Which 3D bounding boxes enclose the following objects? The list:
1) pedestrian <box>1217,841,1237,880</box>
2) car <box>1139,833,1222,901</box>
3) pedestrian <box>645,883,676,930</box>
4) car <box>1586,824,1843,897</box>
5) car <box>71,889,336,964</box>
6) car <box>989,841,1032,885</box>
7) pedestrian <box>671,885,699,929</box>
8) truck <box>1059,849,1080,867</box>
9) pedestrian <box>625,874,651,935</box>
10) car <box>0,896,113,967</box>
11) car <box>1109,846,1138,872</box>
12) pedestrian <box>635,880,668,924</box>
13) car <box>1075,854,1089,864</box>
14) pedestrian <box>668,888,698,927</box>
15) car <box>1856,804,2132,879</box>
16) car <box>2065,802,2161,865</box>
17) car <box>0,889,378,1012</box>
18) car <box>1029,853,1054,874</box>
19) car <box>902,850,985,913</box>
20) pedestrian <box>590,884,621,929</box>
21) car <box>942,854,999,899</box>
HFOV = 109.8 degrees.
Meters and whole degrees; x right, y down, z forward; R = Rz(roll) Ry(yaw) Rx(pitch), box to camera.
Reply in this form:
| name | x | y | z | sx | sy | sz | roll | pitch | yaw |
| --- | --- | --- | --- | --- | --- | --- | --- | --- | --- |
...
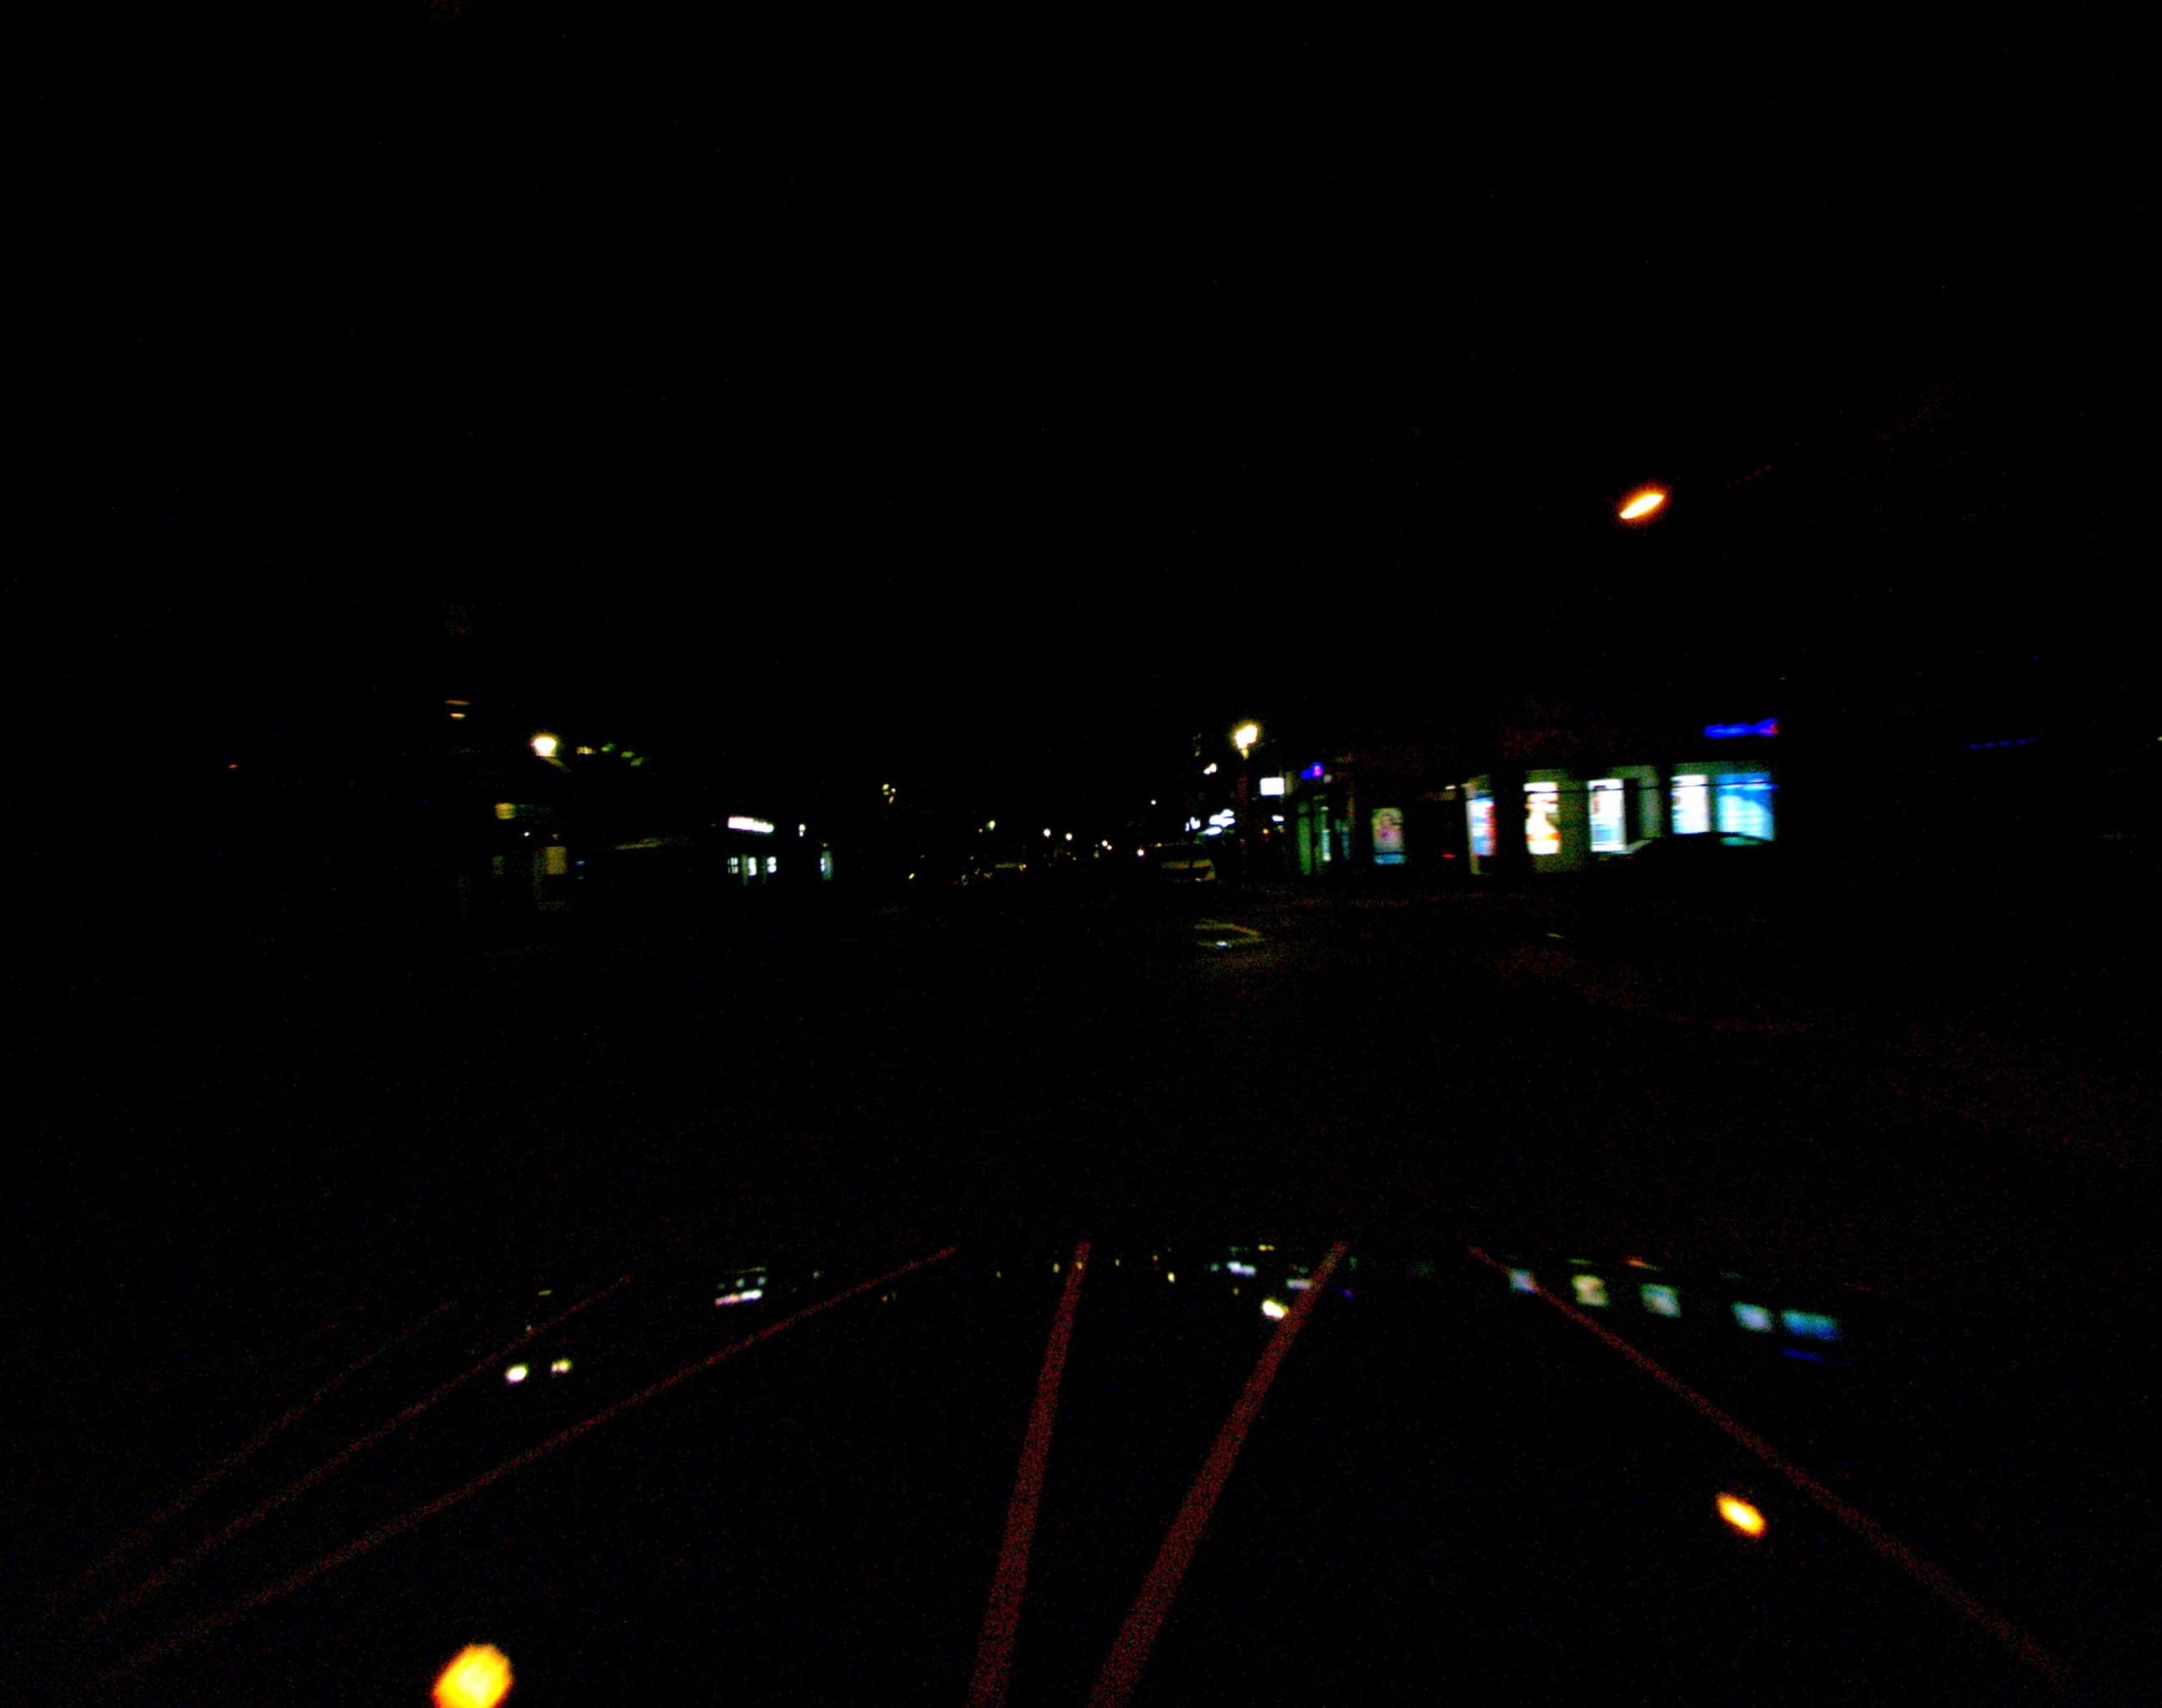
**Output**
| name | x | y | z | sx | sy | sz | roll | pitch | yaw |
| --- | --- | --- | --- | --- | --- | --- | --- | --- | --- |
| pedestrian | 6.885 | 0.287 | 35.865 | 0.719 | 1.795 | 0.716 | -2 | 0 | 2 |
| car | 3.459 | 0.423 | 27.441 | 1.858 | 2.075 | 5.088 | -5 | 0 | -4 |
| pedestrian | -11.831 | 1.466 | 21.368 | 0.528 | 1.256 | 0.503 | -2 | 1 | 31 |
| car | 14.418 | 0.140 | 17.477 | 4.339 | 1.389 | 1.803 | -3 | 0 | 0 |
| car | -20.535 | 1.669 | 17.913 | 4.153 | 1.540 | 1.804 | -1 | -1 | 0 |
| car | -3.950 | 0.472 | 43.556 | 2.140 | 2.313 | 5.150 | -2 | 0 | -3 |
| pedestrian | -10.908 | 1.453 | 20.927 | 0.389 | 1.161 | 0.519 | -2 | 1 | 37 |
| truck | -1.592 | 0.540 | 104.965 | 2.109 | 2.230 | 6.290 | -2 | 0 | 6 |
| pedestrian | -11.666 | 1.320 | 20.002 | 0.480 | 1.578 | 0.372 | -2 | 1 | 37 |
| car | -26.044 | 1.830 | 17.914 | 4.153 | 1.540 | 1.804 | -1 | -1 | 0 |
| car | 3.459 | 0.401 | 62.658 | 1.929 | 1.953 | 5.076 | -4 | 0 | 0 |
| pedestrian | -12.898 | 1.443 | 22.805 | 0.682 | 1.256 | 0.530 | -2 | 1 | 29 |
| car | 0.185 | 0.817 | 120.675 | 1.737 | 1.492 | 4.002 | -2 | 0 | 6 |
| pedestrian | -11.316 | 1.522 | 21.616 | 0.528 | 1.047 | 0.503 | -2 | 1 | 31 |
| car | 20.861 | -0.270 | 17.498 | 4.146 | 1.428 | 1.803 | -3 | 0 | 0 |
| car | 25.766 | -0.549 | 17.471 | 3.907 | 1.387 | 1.803 | -3 | 0 | 0 |
| car | -13.975 | 1.440 | 11.817 | 4.326 | 1.523 | 1.803 | -2 | 1 | 0 |
| car | -3.559 | 0.839 | 69.525 | 1.912 | 1.792 | 4.936 | -2 | 0 | 0 |
| car | -4.341 | 0.809 | 24.673 | 1.793 | 1.811 | 4.579 | -2 | 0 | 0 |
| pedestrian | -13.660 | 1.500 | 21.848 | 0.501 | 1.256 | 0.530 | -2 | 1 | 29 |
| car | -4.406 | 0.875 | 30.980 | 1.688 | 1.649 | 4.296 | -2 | 0 | -1 |
